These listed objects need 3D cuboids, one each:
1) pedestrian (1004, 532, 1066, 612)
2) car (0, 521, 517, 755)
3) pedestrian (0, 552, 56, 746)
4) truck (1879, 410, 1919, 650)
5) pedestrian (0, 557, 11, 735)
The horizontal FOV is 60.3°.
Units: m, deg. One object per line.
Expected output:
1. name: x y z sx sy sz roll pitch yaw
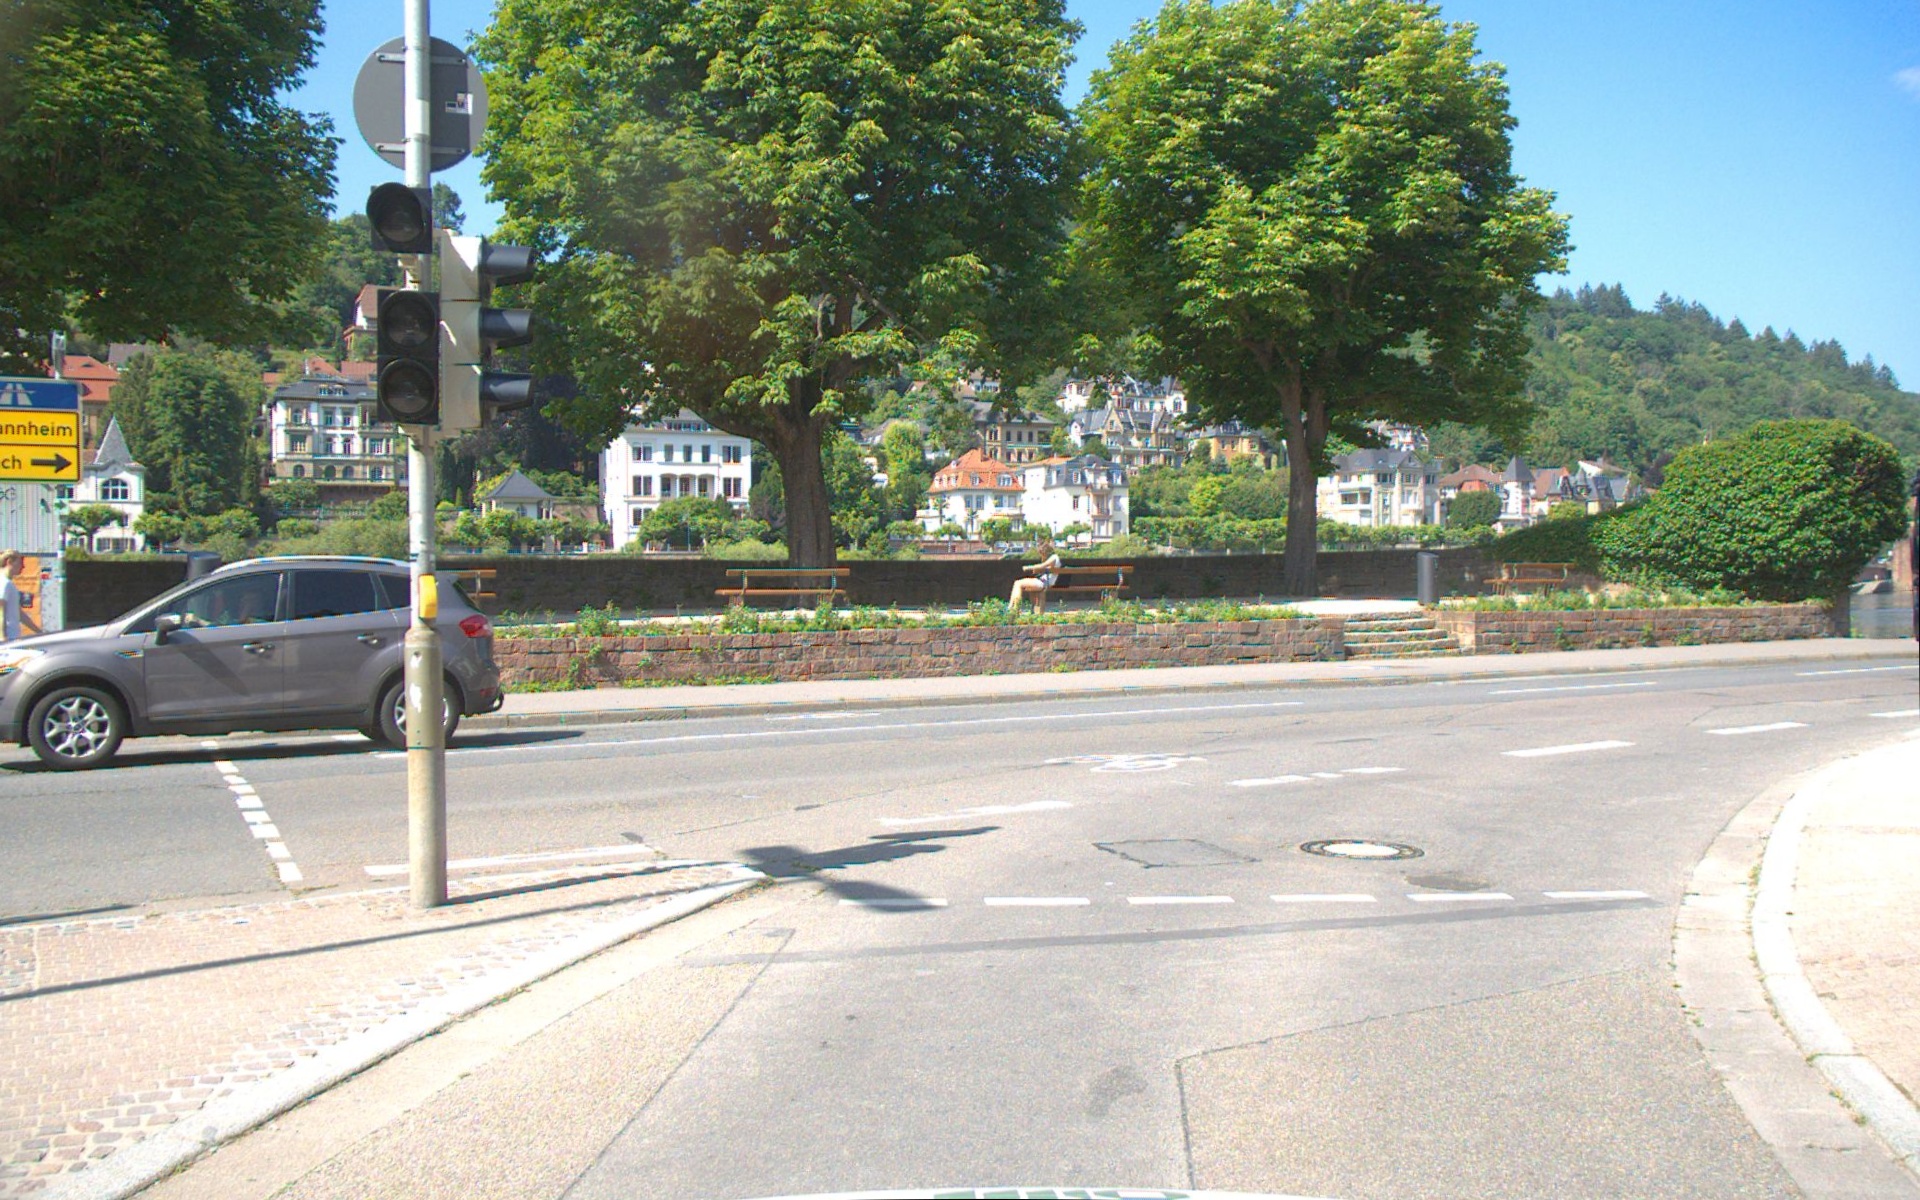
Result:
1. pedestrian: 1.226 -0.450 27.124 0.787 1.232 0.710 1 -4 -25
2. car: -6.252 0.340 14.349 4.350 1.784 1.825 0 -3 -31
3. pedestrian: -9.115 0.465 16.024 0.572 1.833 0.697 -1 0 -32
4. truck: 19.541 -1.285 29.420 5.847 4.143 2.813 -1 -1 -29
5. pedestrian: -10.166 0.483 16.907 0.683 1.800 0.708 -2 -1 -36
